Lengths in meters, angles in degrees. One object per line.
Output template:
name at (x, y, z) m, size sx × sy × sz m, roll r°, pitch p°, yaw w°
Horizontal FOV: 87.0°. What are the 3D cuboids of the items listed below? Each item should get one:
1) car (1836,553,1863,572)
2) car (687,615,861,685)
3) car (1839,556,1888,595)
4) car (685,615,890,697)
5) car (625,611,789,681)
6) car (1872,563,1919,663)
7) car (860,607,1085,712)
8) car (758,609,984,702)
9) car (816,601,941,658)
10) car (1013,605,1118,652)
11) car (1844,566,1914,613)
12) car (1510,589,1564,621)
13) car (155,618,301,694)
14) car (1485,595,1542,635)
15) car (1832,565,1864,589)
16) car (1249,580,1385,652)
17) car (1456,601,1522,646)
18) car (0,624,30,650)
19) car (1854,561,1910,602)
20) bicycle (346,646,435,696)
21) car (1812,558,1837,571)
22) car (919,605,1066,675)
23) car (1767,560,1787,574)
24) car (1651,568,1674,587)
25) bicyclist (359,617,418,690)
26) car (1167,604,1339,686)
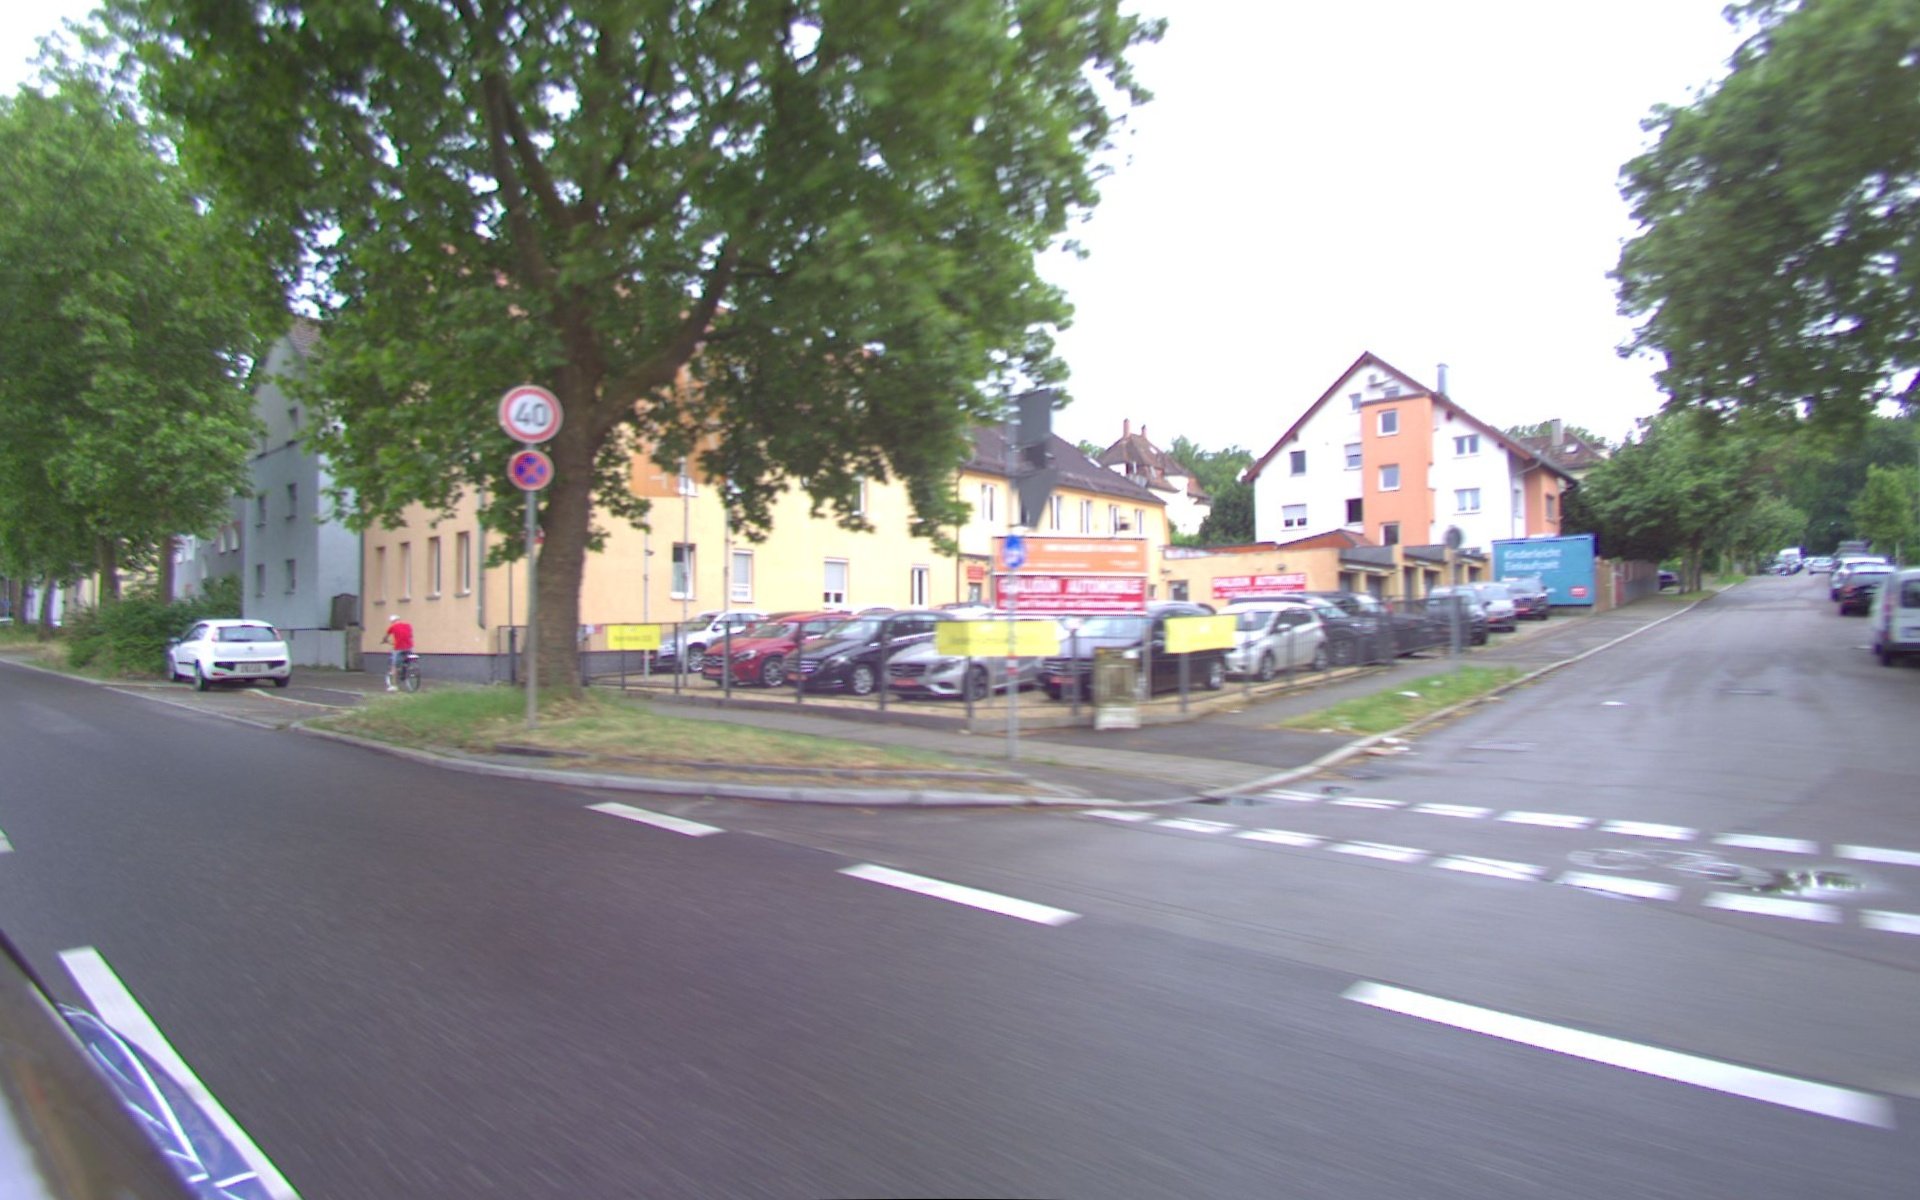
car at (57.340, -2.386, 65.257) m, size 1.240 × 1.200 × 2.473 m, roll 0°, pitch 1°, yaw 41°
car at (-4.609, 1.186, 25.430) m, size 1.886 × 1.475 × 3.943 m, roll -1°, pitch 0°, yaw 43°
car at (35.396, -0.962, 39.697) m, size 1.383 × 1.485 × 3.115 m, roll 0°, pitch 1°, yaw 41°
car at (-3.680, 1.141, 22.062) m, size 1.958 × 1.509 × 4.053 m, roll -2°, pitch 0°, yaw 43°
car at (-6.772, 1.181, 27.347) m, size 1.782 × 1.626 × 3.943 m, roll -1°, pitch 0°, yaw 43°
car at (18.913, 0.186, 19.499) m, size 1.879 × 1.792 × 3.946 m, roll 0°, pitch 2°, yaw 41°
car at (0.345, 0.979, 18.630) m, size 1.981 × 1.550 × 4.165 m, roll 0°, pitch 1°, yaw 39°
car at (-1.693, 1.018, 20.174) m, size 2.001 × 1.550 × 4.159 m, roll -2°, pitch 0°, yaw 45°
car at (-2.551, 0.903, 32.406) m, size 1.736 × 1.626 × 3.807 m, roll -1°, pitch 0°, yaw 43°
car at (3.709, 0.948, 35.074) m, size 1.704 × 1.462 × 3.762 m, roll 0°, pitch 1°, yaw 43°
car at (28.975, -0.350, 31.966) m, size 1.569 × 1.416 × 2.934 m, roll 0°, pitch 1°, yaw 41°
car at (21.554, 0.167, 37.765) m, size 1.478 × 1.071 × 2.853 m, roll 0°, pitch 2°, yaw 35°
car at (-16.806, 1.233, 23.157) m, size 4.349 × 1.563 × 1.767 m, roll -2°, pitch -1°, yaw 41°
car at (17.876, 0.457, 32.635) m, size 1.331 × 1.071 × 2.604 m, roll 0°, pitch 3°, yaw 35°
car at (46.442, -1.214, 52.952) m, size 1.240 × 1.200 × 2.473 m, roll 0°, pitch 1°, yaw 41°
car at (9.188, 0.345, 25.885) m, size 1.887 × 1.696 × 3.943 m, roll 0°, pitch 1°, yaw 43°
car at (15.018, 0.640, 28.709) m, size 1.348 × 1.071 × 2.573 m, roll 0°, pitch 3°, yaw 35°
car at (-53.111, 2.010, 56.041) m, size 4.533 × 1.336 × 1.738 m, roll -1°, pitch 0°, yaw 38°
car at (32.649, -0.663, 35.879) m, size 1.391 × 1.416 × 2.934 m, roll 0°, pitch 1°, yaw 41°
bicycle at (-12.761, 1.576, 22.652) m, size 2.253 × 1.003 × 0.551 m, roll 0°, pitch 1°, yaw 26°
car at (71.978, -2.952, 84.273) m, size 1.575 × 1.071 × 2.361 m, roll 0°, pitch 1°, yaw 40°
car at (0.948, 1.013, 27.568) m, size 1.887 × 1.696 × 3.943 m, roll 0°, pitch 1°, yaw 43°
car at (65.938, -2.635, 81.663) m, size 1.213 × 1.071 × 2.361 m, roll 0°, pitch 1°, yaw 40°
car at (40.965, -1.320, 59.029) m, size 1.051 × 1.071 × 2.093 m, roll 0°, pitch 1°, yaw 35°
bicyclist at (-12.762, 1.172, 22.610) m, size 0.812 × 1.564 × 0.828 m, roll 0°, pitch 1°, yaw 26°
car at (6.216, 0.847, 21.176) m, size 1.998 × 1.508 × 4.125 m, roll 0°, pitch 0°, yaw 39°
